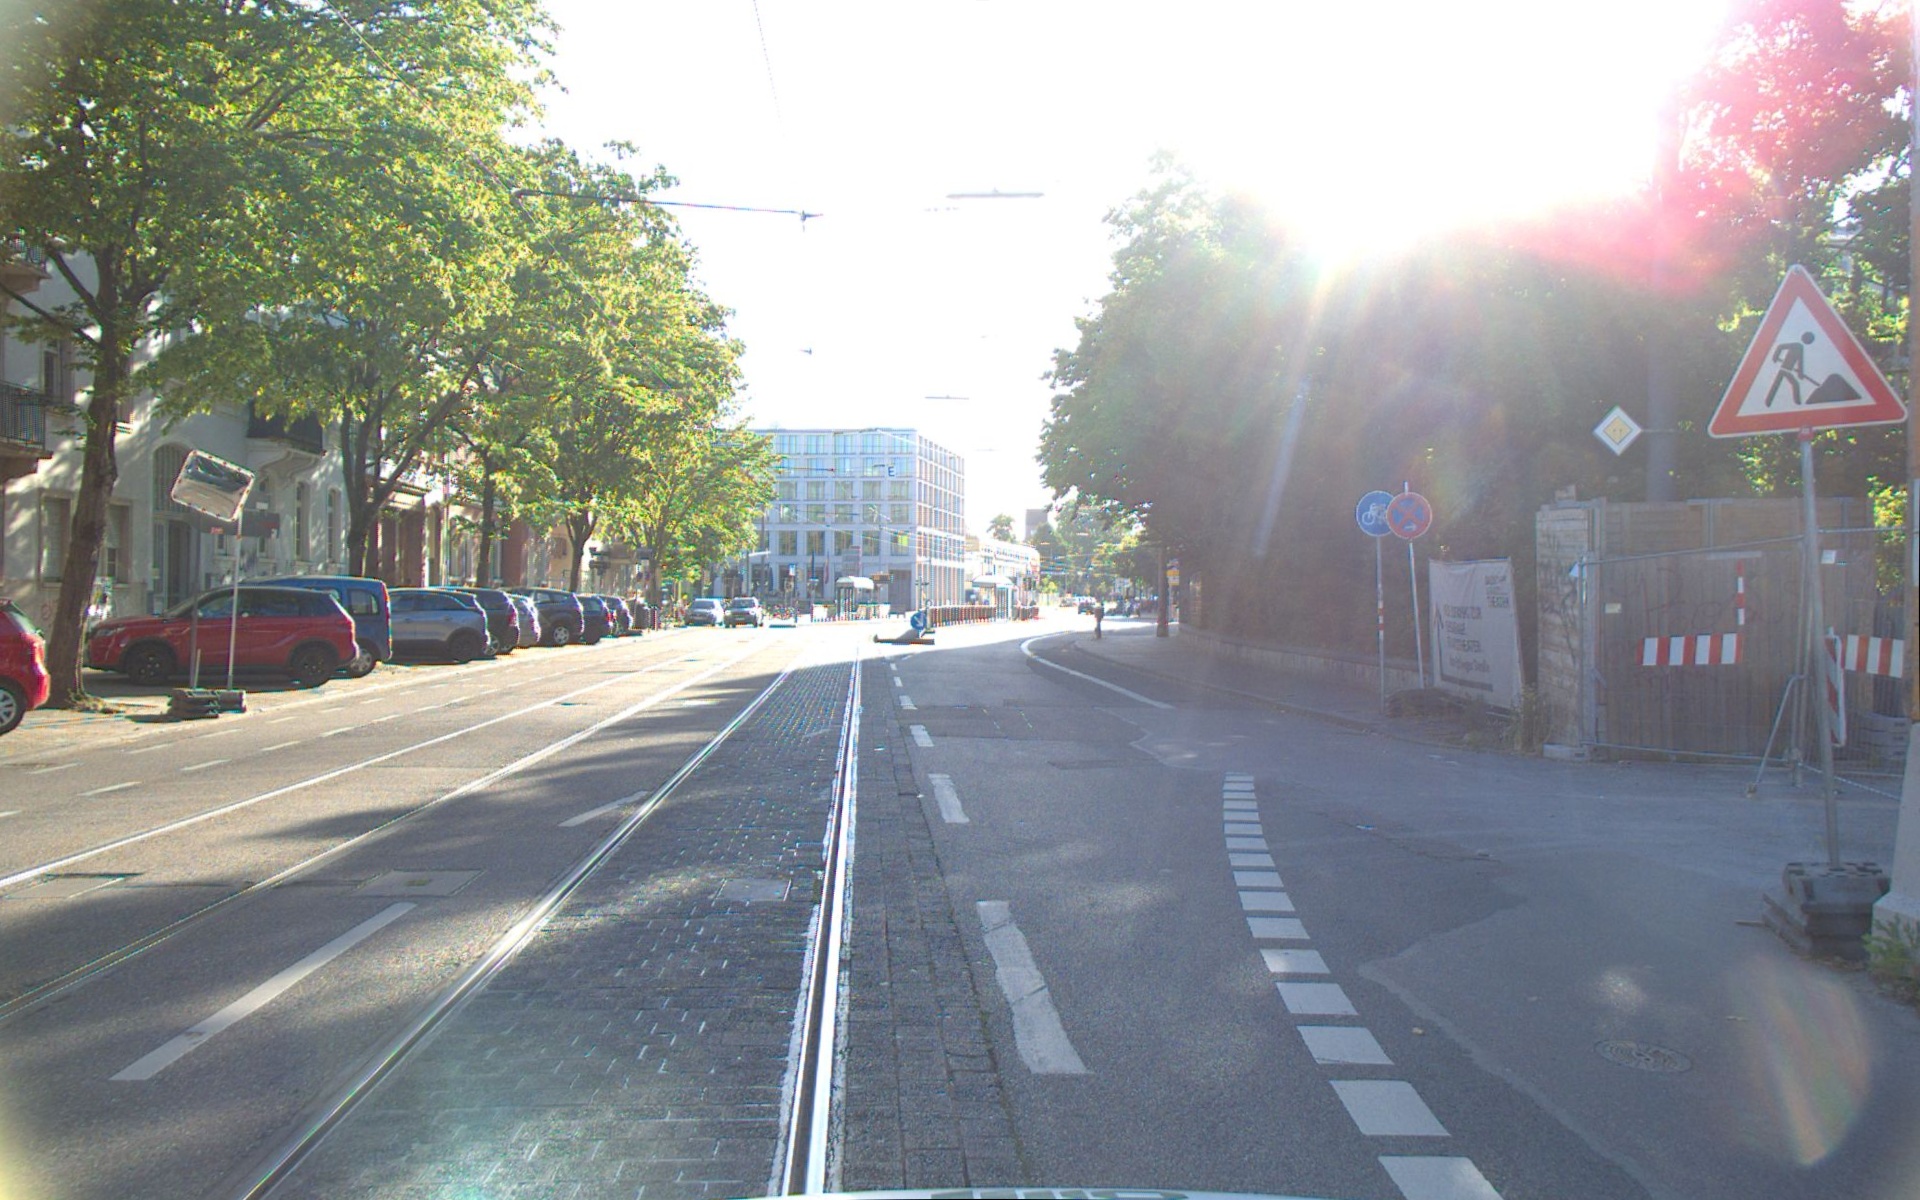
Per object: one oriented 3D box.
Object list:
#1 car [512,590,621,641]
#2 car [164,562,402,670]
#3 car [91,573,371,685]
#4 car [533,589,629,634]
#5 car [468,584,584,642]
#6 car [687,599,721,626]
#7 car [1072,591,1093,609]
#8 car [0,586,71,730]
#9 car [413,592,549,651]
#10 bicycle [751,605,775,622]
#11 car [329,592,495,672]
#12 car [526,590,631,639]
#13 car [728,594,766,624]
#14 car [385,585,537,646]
[{"bbox_3d":[-12.809,0.499,53.826,3.230,1.613,1.458,0,0,-26],"label":"car"},{"bbox_3d":[-12.501,0.318,30.597,3.793,1.864,1.712,2,-1,-34],"label":"car"},{"bbox_3d":[-12.113,0.461,27.550,4.117,1.751,1.567,1,0,-31],"label":"car"},{"bbox_3d":[-13.980,0.412,61.065,3.230,1.613,1.458,0,0,-26],"label":"car"},{"bbox_3d":[-13.190,0.382,50.259,3.230,1.728,1.458,0,0,-26],"label":"car"},{"bbox_3d":[-14.493,0.694,93.830,1.541,1.516,3.998,0,0,-3],"label":"car"},{"bbox_3d":[14.206,-0.028,191.706,1.951,2.049,4.004,0,0,10],"label":"car"},{"bbox_3d":[-11.716,0.630,17.766,3.649,1.554,1.463,0,0,-39],"label":"car"},{"bbox_3d":[-12.483,0.543,43.134,3.230,1.510,1.458,0,0,-26],"label":"car"},{"bbox_3d":[-15.224,1.034,127.684,1.762,1.245,0.597,0,0,-12],"label":"bicycle"},{"bbox_3d":[-12.330,0.708,37.276,3.339,1.727,1.390,1,0,-32],"label":"car"},{"bbox_3d":[-12.877,0.484,55.827,3.230,1.613,1.458,0,0,-26],"label":"car"},{"bbox_3d":[-11.626,0.476,90.520,1.526,1.557,4.000,0,0,1],"label":"car"},{"bbox_3d":[-12.192,0.375,40.431,3.339,1.444,1.390,1,0,-32],"label":"car"}]
